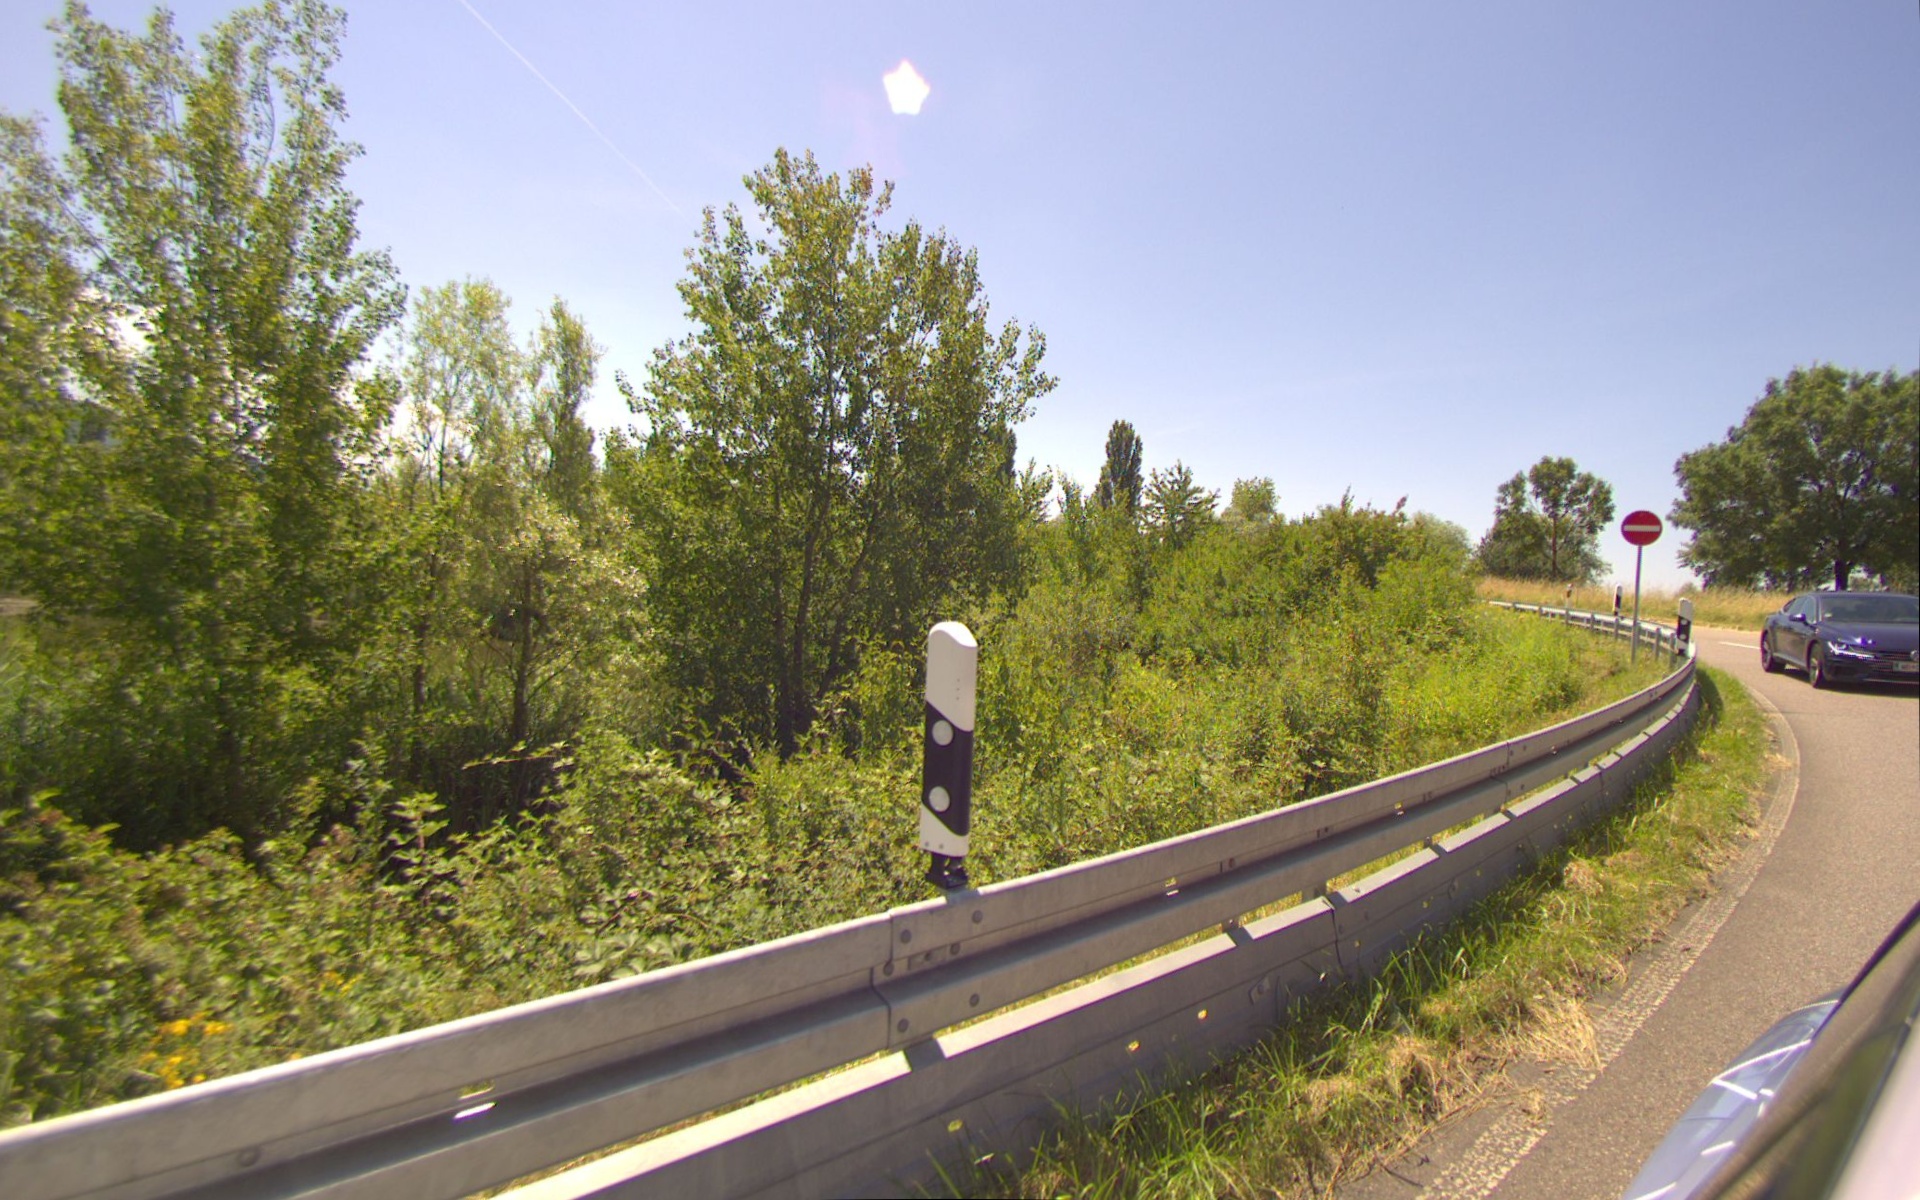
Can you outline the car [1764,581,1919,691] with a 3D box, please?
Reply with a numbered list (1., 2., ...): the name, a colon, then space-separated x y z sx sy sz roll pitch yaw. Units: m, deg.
1. car: 14.058 0.447 15.573 1.827 1.448 4.490 1 2 28
